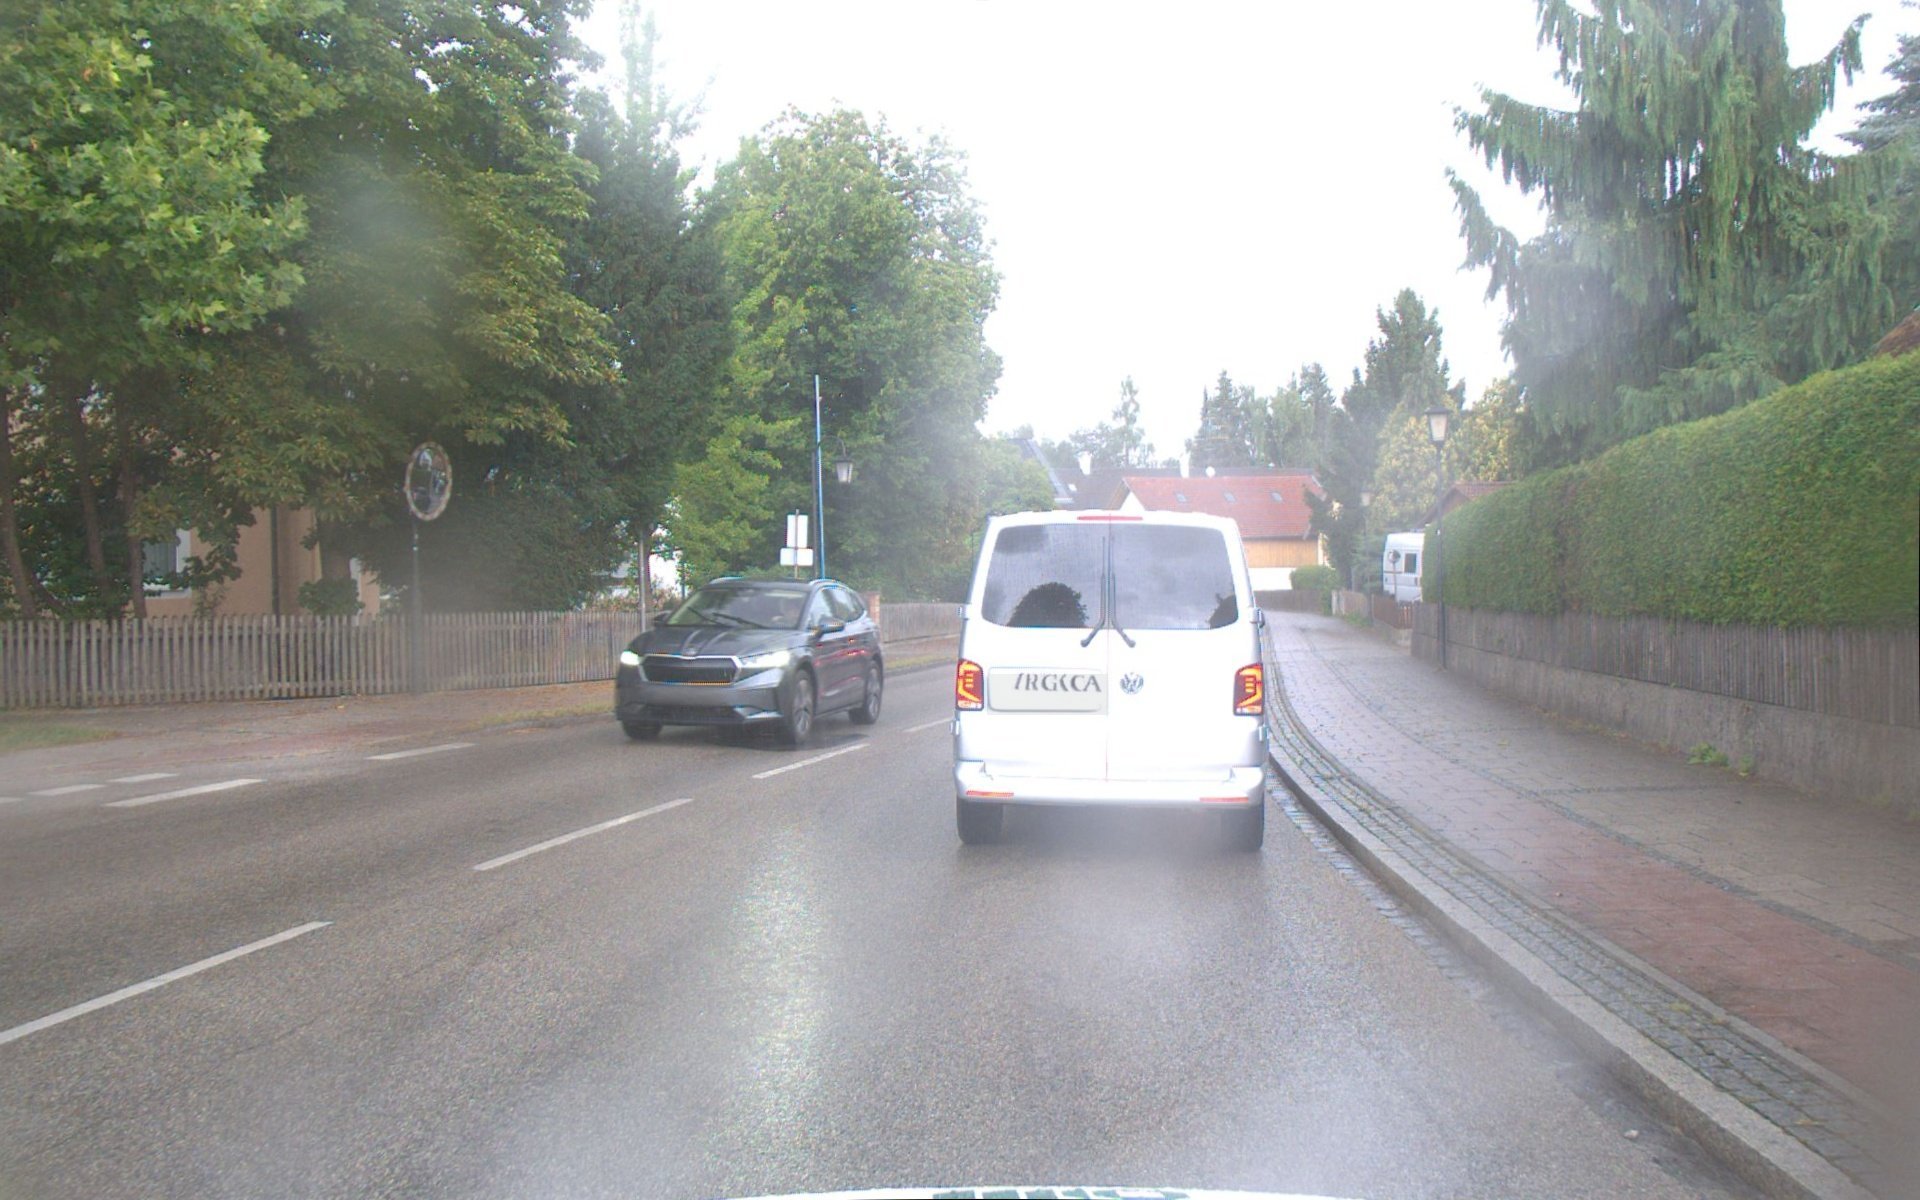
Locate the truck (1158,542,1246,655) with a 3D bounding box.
[{"bbox_3d":[7.324,-0.024,49.706,2.422,3.128,6.301,1,0,9],"label":"truck"}]

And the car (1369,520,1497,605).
[{"bbox_3d":[13.278,-0.996,46.735,1.954,2.211,4.949,1,0,-3],"label":"car"}]

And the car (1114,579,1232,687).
[{"bbox_3d":[3.585,0.515,27.361,1.762,1.616,4.003,1,0,9],"label":"car"}]

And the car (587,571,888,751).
[{"bbox_3d":[-2.158,0.546,17.346,1.951,1.623,4.195,1,0,10],"label":"car"}]

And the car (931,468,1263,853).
[{"bbox_3d":[0.899,0.330,10.929,1.763,2.049,4.002,1,0,5],"label":"car"}]

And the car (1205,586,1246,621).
[{"bbox_3d":[12.174,0.184,75.807,1.762,1.534,4.003,1,0,9],"label":"car"}]
